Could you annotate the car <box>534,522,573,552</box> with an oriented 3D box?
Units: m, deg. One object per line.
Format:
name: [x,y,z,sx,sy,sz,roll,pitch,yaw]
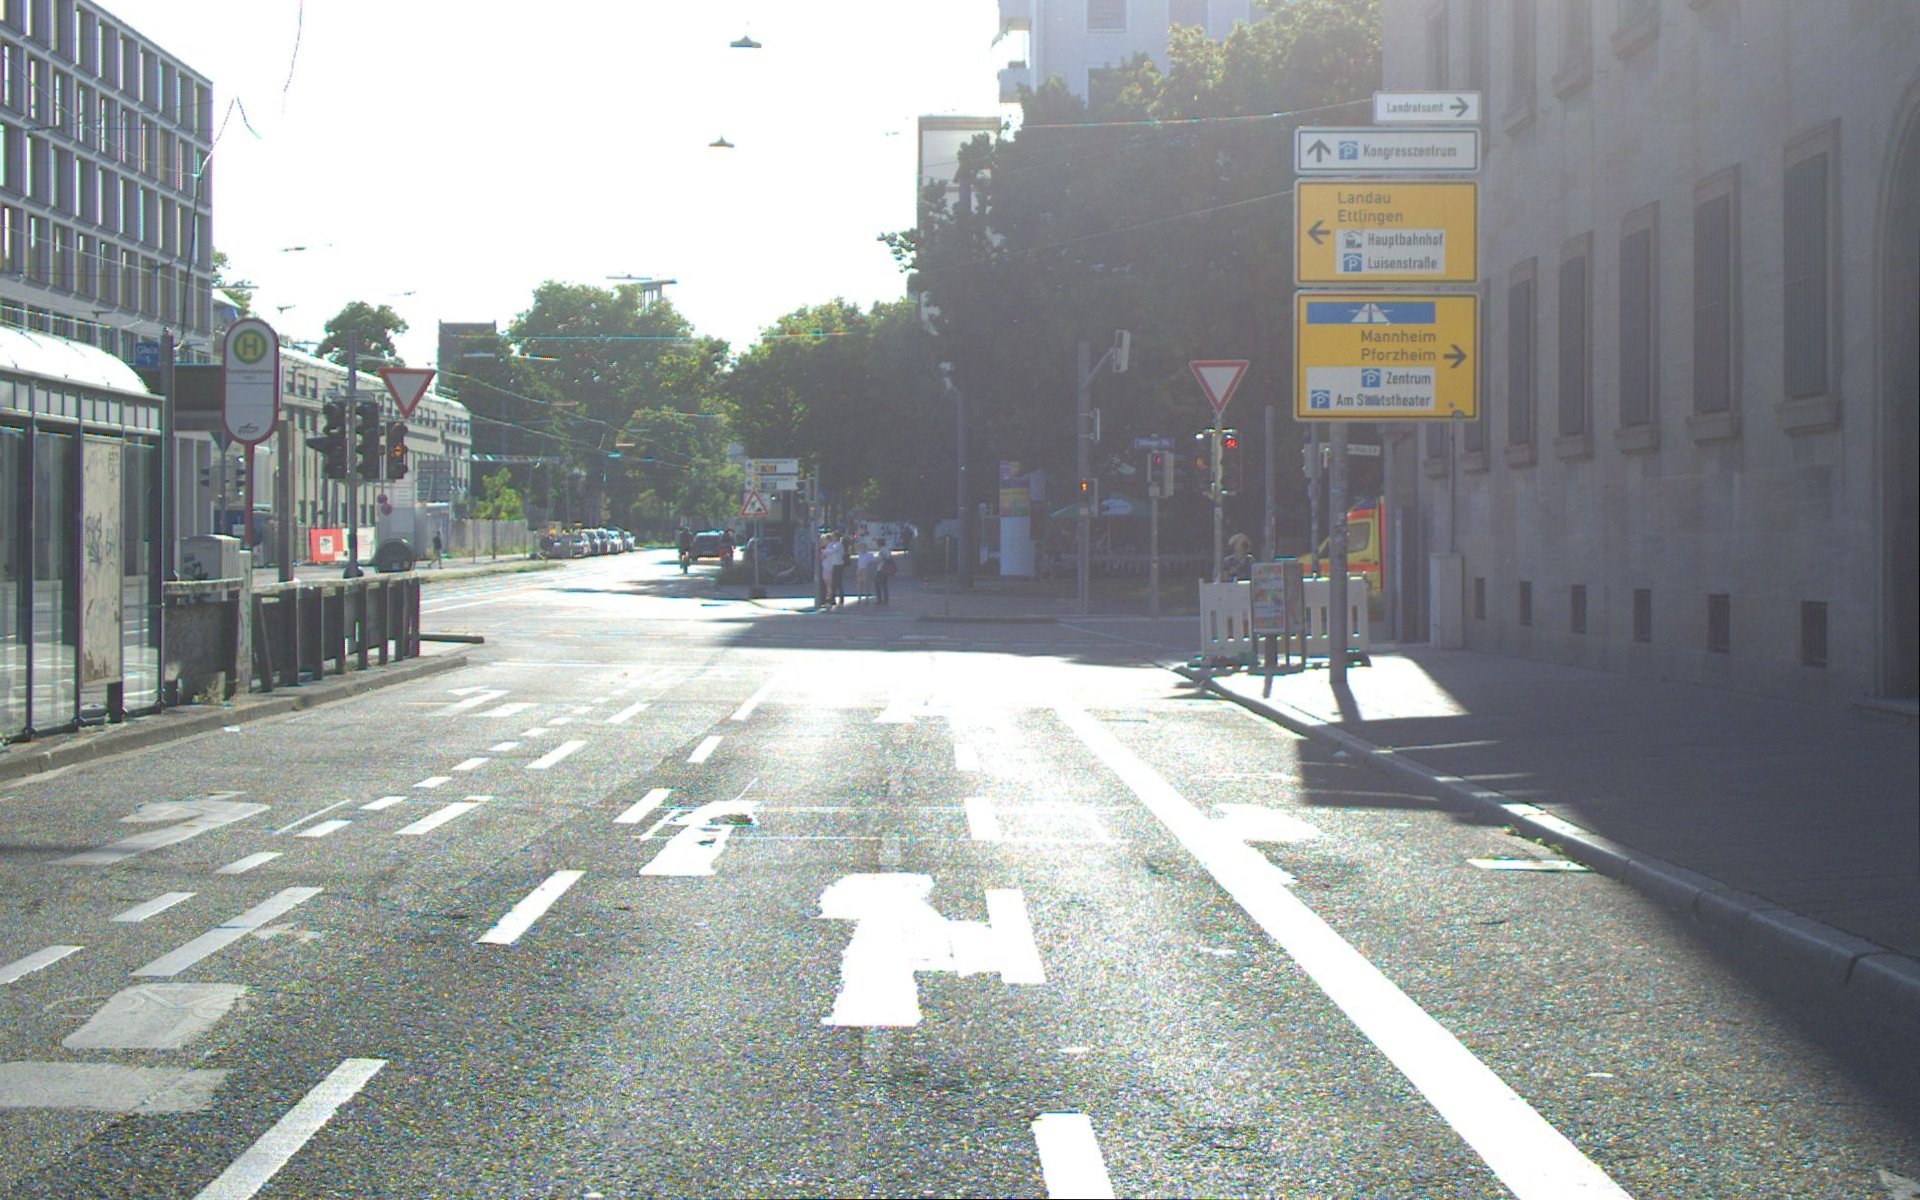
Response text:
car: [-23.116,-3.601,195.566,1.819,1.706,3.806,0,1,-1]

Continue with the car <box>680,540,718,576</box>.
car: [-13.384,-2.153,176.430,1.684,1.731,3.509,2,0,-1]

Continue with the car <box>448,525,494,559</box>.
car: [-24.592,-2.920,172.929,1.819,1.706,3.806,0,1,-1]

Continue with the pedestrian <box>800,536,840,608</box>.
pedestrian: [-3.504,-0.712,86.072,0.847,1.778,0.780,0,1,-17]

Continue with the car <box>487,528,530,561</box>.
car: [-24.134,-2.978,183.819,1.819,1.706,3.806,0,1,-1]

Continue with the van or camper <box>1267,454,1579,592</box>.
van or camper: [10.390,-1.721,77.694,6.709,2.852,2.910,2,0,4]

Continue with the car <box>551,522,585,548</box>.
car: [-22.732,-3.760,199.531,1.609,1.493,3.806,0,1,-1]

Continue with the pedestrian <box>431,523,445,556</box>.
pedestrian: [-23.851,-2.769,157.132,0.524,1.479,0.437,2,0,-2]

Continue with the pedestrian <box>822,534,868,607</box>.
pedestrian: [-2.834,-0.733,84.589,0.965,1.778,0.780,0,1,-17]

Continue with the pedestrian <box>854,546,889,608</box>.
pedestrian: [-2.236,-0.583,86.523,0.762,1.553,0.588,0,1,-17]

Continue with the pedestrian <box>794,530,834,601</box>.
pedestrian: [-3.702,-0.876,86.908,0.847,1.778,0.780,0,1,-17]

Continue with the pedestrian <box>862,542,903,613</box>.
pedestrian: [-1.937,-0.567,85.738,0.847,1.778,0.780,0,1,-17]

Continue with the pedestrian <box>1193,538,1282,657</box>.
pedestrian: [4.037,-0.050,50.095,1.039,1.715,1.035,0,1,-12]
